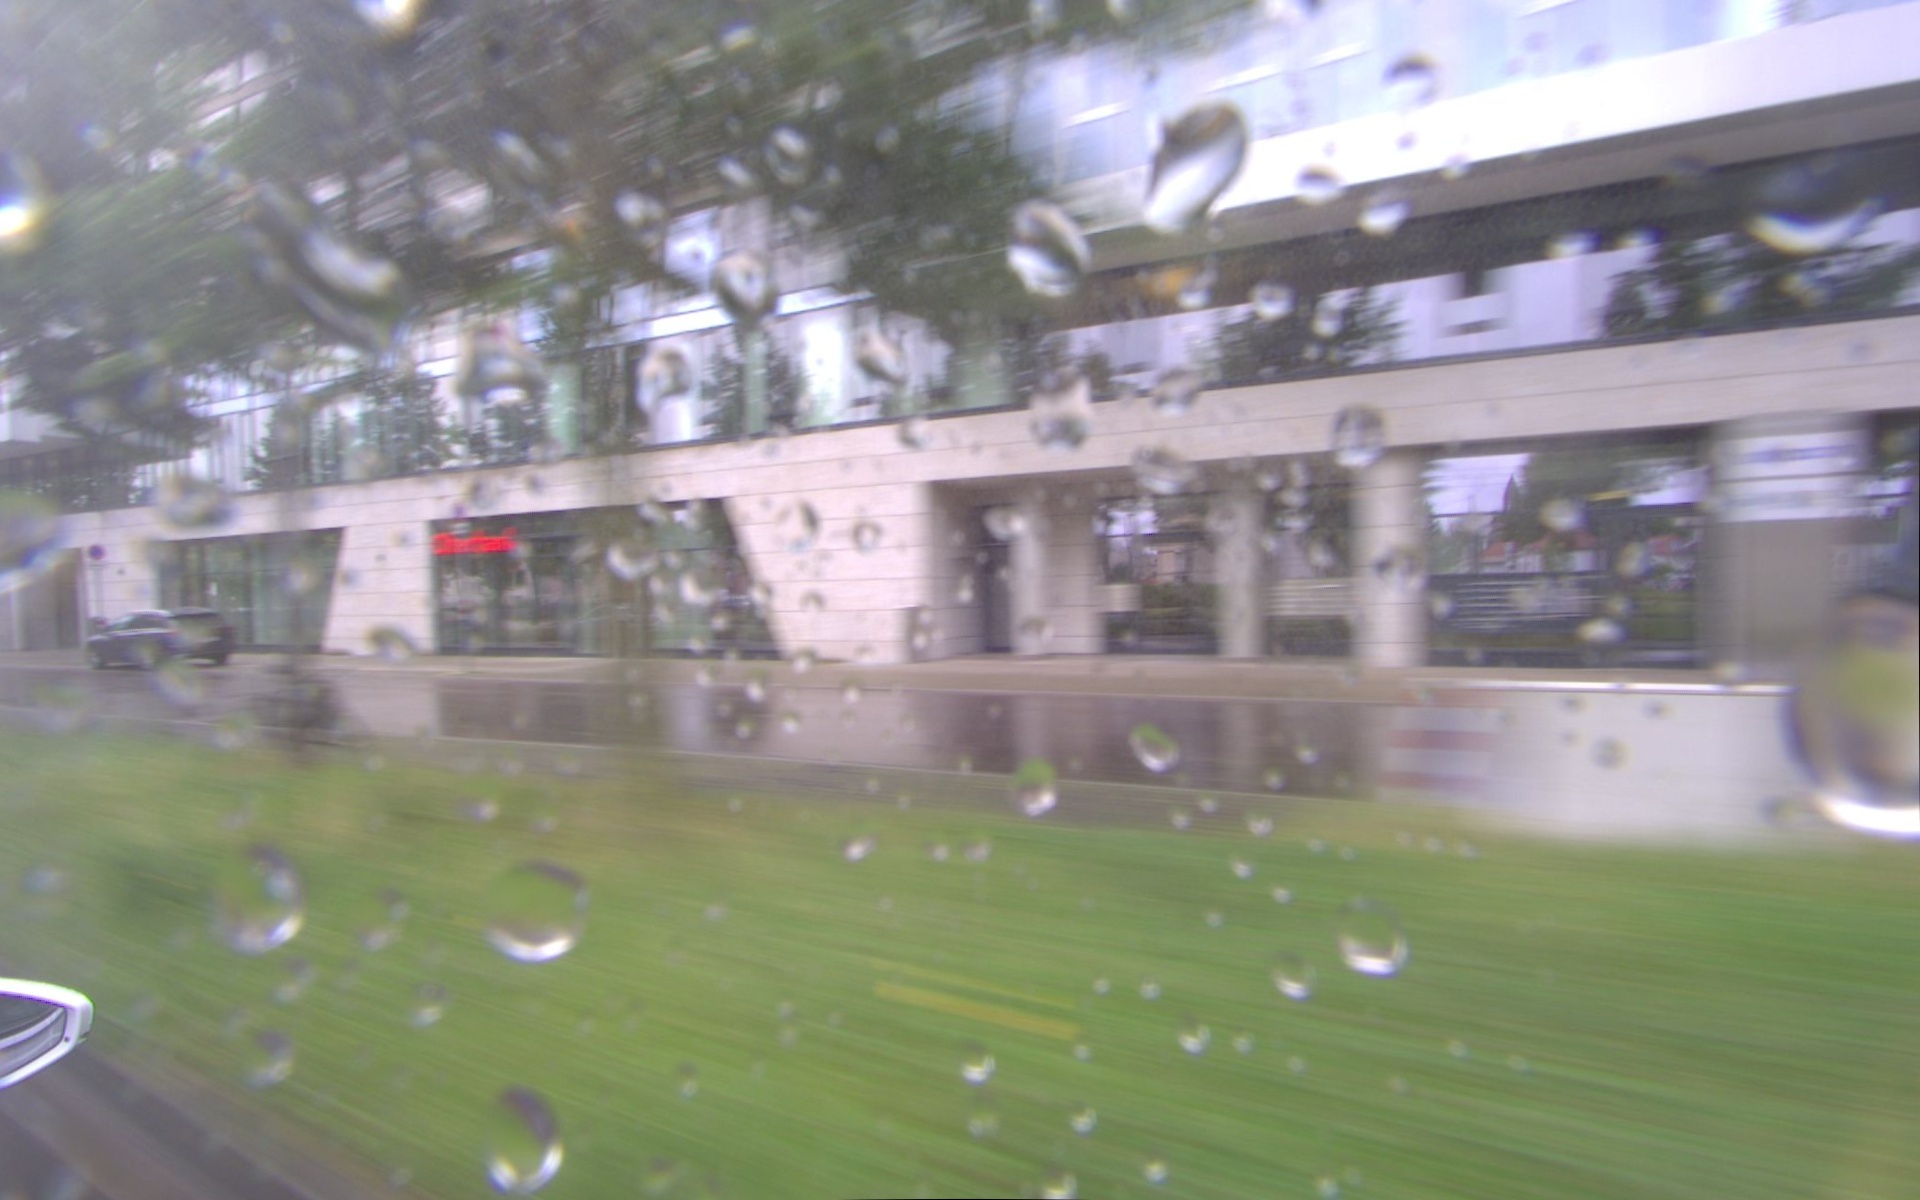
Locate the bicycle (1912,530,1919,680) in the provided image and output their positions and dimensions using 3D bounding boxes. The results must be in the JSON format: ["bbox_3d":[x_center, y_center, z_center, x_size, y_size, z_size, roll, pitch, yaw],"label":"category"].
[{"bbox_3d":[11.778,0.071,11.475,0.697,1.885,2.674,0,1,32],"label":"bicycle"}]

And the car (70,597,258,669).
[{"bbox_3d":[-20.696,0.778,26.013,4.956,1.523,1.989,1,6,29],"label":"car"}]

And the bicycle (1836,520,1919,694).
[{"bbox_3d":[11.168,0.064,11.889,0.697,1.885,2.674,0,1,32],"label":"bicycle"}]

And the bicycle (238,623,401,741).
[{"bbox_3d":[-5.385,0.649,8.377,1.873,0.834,0.341,2,2,31],"label":"bicycle"}]
